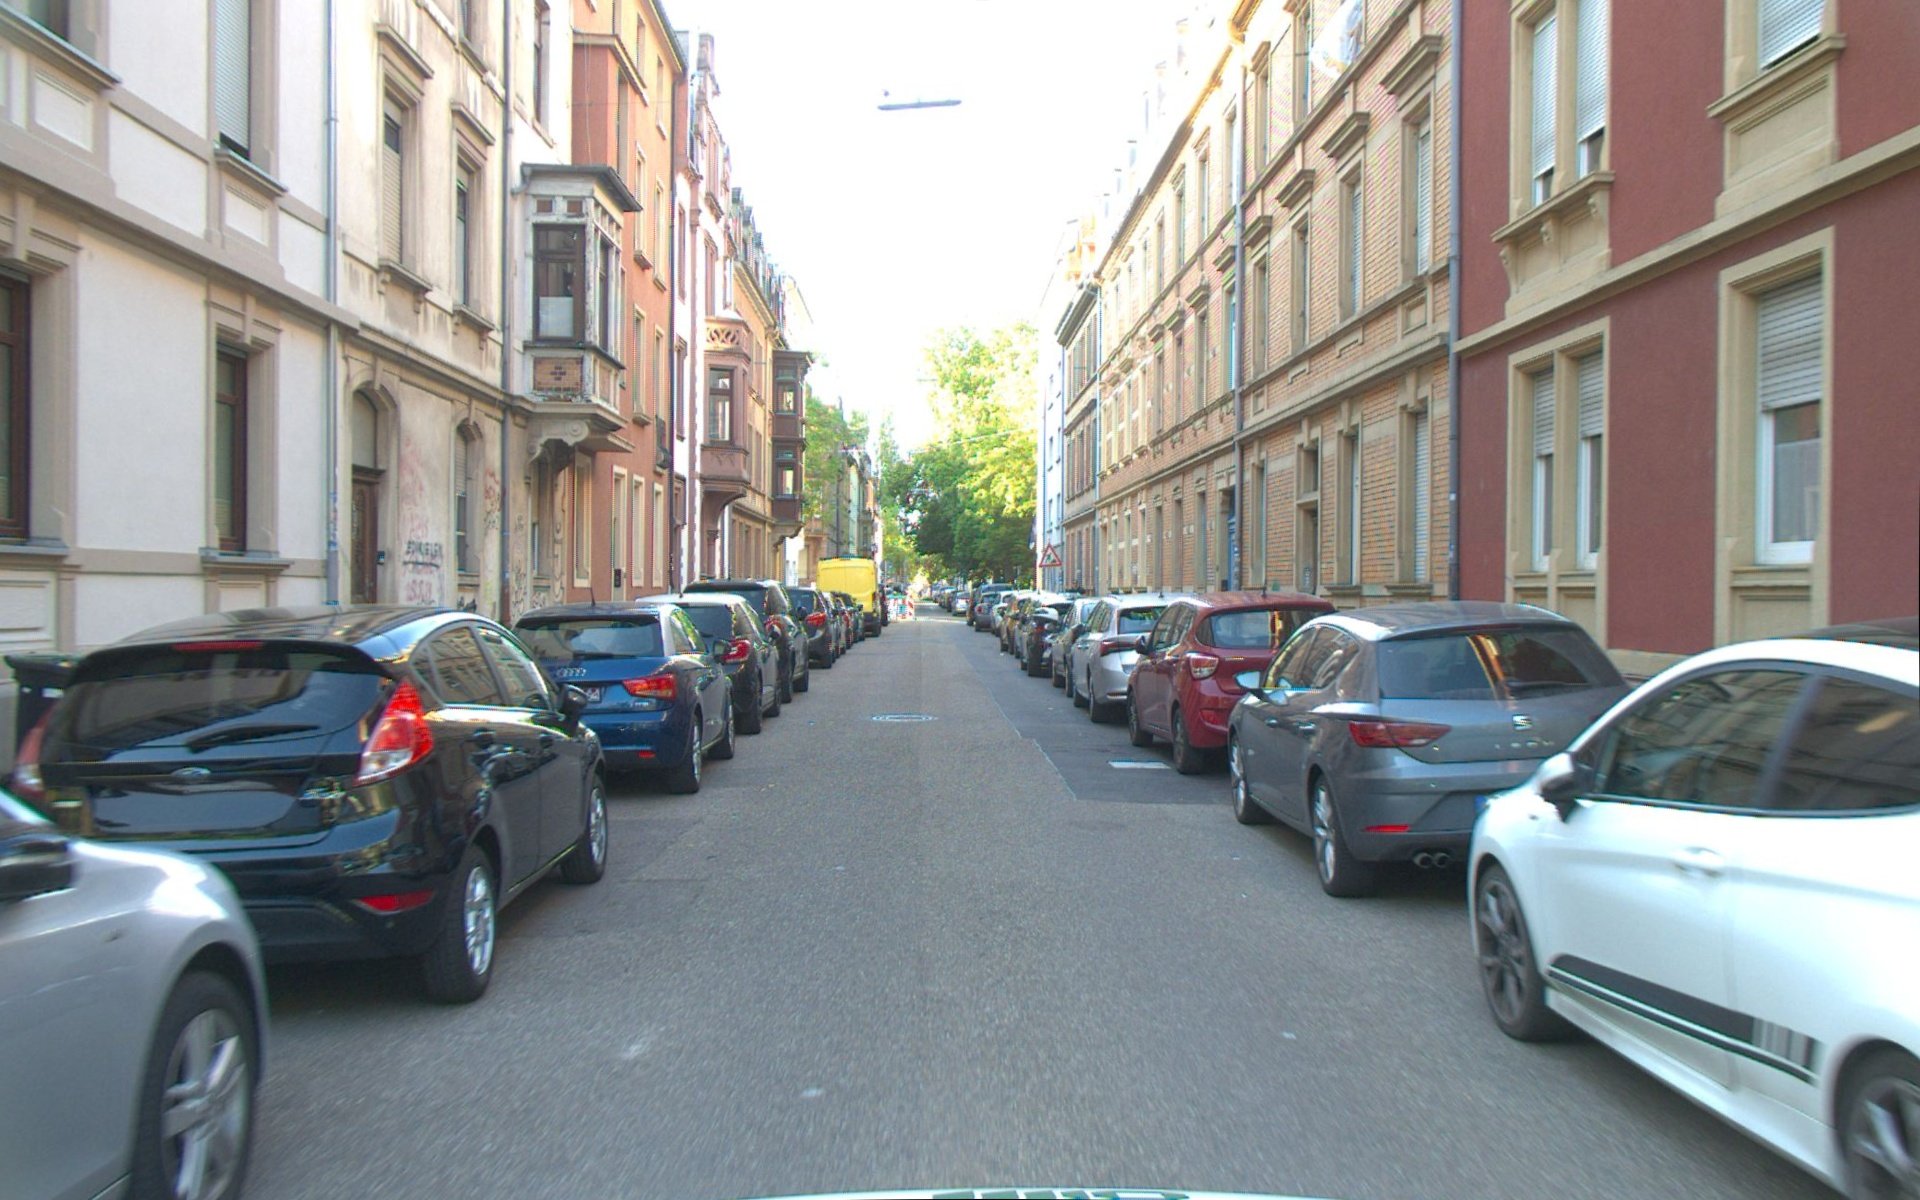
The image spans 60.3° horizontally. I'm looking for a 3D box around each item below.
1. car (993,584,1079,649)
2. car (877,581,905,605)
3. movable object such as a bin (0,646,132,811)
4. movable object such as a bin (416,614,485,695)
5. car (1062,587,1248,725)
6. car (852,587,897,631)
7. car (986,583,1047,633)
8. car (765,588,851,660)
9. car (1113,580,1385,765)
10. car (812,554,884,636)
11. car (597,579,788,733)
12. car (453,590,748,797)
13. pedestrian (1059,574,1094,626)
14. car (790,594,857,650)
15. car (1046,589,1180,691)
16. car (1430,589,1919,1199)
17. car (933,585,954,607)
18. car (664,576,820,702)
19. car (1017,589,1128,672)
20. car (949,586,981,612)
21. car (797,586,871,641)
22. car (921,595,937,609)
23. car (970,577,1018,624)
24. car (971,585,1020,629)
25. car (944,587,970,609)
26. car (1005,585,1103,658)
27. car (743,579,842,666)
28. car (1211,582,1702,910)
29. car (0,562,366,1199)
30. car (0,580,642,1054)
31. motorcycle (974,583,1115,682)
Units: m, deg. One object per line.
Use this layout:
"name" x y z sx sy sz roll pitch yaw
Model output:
"car" 1.893 0.392 42.183 1.719 1.471 4.066 -3 0 -3
"car" -6.106 -0.612 147.172 2.262 2.151 5.169 0 0 0
"movable object such as a bin" -5.629 0.792 10.357 0.609 0.972 0.511 2 0 -2
"movable object such as a bin" -6.051 0.637 19.675 0.600 0.936 0.733 1 0 -2
"car" 2.304 0.608 20.575 1.726 1.510 4.401 0 1 -1
"car" -3.661 0.342 70.312 1.783 1.797 4.332 0 0 -4
"car" 1.923 0.248 57.799 1.719 1.544 4.441 -4 1 -2
"car" -3.500 0.521 38.592 1.660 1.500 3.918 -2 1 -1
"car" 2.551 0.569 15.513 1.626 1.505 4.022 0 1 -4
"car" -3.687 -0.184 55.524 2.131 2.551 5.876 -2 0 -2
"car" -2.882 0.539 18.529 1.610 1.481 3.837 -2 1 -2
"car" -2.764 0.651 13.502 1.745 1.428 3.740 1 0 -3
"pedestrian" 3.760 0.001 53.462 0.650 1.659 0.866 -1 -1 -43
"car" -3.613 0.554 44.233 1.585 1.349 3.611 -2 0 -2
"car" 2.297 0.566 25.641 1.657 1.430 3.992 0 1 -1
"car" 2.785 0.728 4.701 1.671 1.488 3.969 1 0 -2
"car" -1.762 -0.383 174.782 2.117 2.295 4.523 0 0 -3
"car" -3.029 0.493 23.711 1.725 1.645 4.188 0 0 -1
"car" 2.060 0.528 31.300 1.741 1.421 4.316 0 1 -1
"car" 0.281 -0.068 103.187 1.690 1.549 3.997 0 1 -4
"car" -3.692 0.379 48.851 1.683 1.437 3.898 -4 0 2
"car" -4.001 0.237 212.316 1.953 1.758 3.999 0 0 -2
"car" 1.379 -0.016 69.110 1.718 1.817 4.722 -2 1 -2
"car" 1.320 0.238 63.671 1.718 1.478 4.288 -4 1 0
"car" -0.243 -0.144 124.459 1.856 1.653 3.998 1 0 -2
"car" 2.075 0.443 37.443 1.691 1.442 4.091 -4 1 -3
"car" -3.324 0.414 33.420 1.745 1.634 4.067 1 0 -3
"car" 2.657 0.669 9.850 1.642 1.529 4.068 0 1 -1
"car" -2.533 0.684 2.566 1.744 1.509 3.933 1 0 1
"car" -2.595 0.679 7.158 1.745 1.509 3.742 1 0 -1
"motorcycle" 1.435 0.549 27.979 2.193 1.563 0.882 3 0 -28
